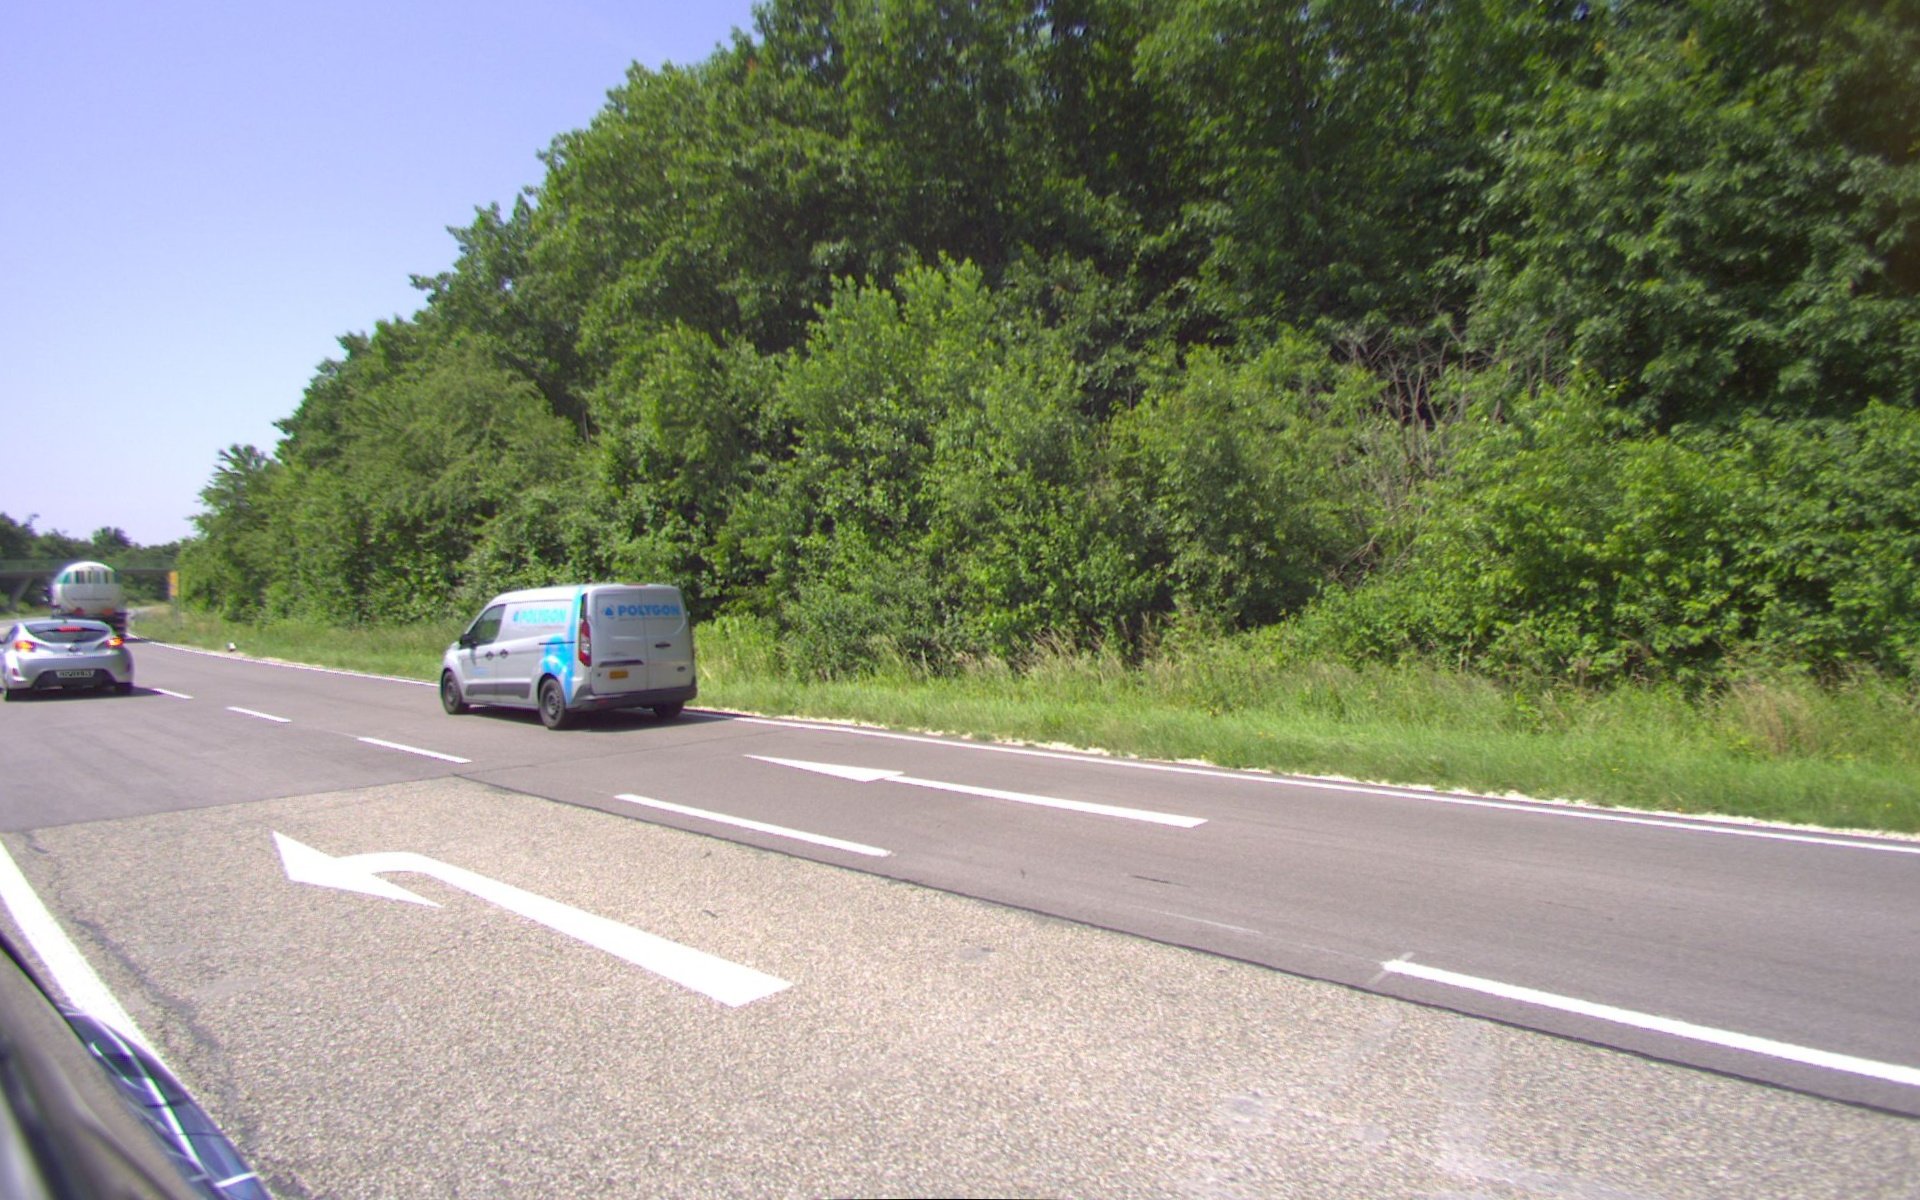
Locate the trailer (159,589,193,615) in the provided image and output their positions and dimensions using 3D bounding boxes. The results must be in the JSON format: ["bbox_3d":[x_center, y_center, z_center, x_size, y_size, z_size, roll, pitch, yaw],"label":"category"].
[{"bbox_3d":[-129.707,0.330,167.545,2.788,4.126,9.030,-1,0,-27],"label":"trailer"}]

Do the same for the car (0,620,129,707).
[{"bbox_3d":[-17.160,1.158,18.973,4.094,1.430,1.691,-3,-1,40],"label":"car"}]

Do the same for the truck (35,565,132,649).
[{"bbox_3d":[-41.927,0.311,48.284,8.797,3.698,2.598,-1,0,43],"label":"truck"}]

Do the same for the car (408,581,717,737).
[{"bbox_3d":[-5.592,0.716,13.889,4.889,1.792,1.824,-2,0,40],"label":"car"}]
